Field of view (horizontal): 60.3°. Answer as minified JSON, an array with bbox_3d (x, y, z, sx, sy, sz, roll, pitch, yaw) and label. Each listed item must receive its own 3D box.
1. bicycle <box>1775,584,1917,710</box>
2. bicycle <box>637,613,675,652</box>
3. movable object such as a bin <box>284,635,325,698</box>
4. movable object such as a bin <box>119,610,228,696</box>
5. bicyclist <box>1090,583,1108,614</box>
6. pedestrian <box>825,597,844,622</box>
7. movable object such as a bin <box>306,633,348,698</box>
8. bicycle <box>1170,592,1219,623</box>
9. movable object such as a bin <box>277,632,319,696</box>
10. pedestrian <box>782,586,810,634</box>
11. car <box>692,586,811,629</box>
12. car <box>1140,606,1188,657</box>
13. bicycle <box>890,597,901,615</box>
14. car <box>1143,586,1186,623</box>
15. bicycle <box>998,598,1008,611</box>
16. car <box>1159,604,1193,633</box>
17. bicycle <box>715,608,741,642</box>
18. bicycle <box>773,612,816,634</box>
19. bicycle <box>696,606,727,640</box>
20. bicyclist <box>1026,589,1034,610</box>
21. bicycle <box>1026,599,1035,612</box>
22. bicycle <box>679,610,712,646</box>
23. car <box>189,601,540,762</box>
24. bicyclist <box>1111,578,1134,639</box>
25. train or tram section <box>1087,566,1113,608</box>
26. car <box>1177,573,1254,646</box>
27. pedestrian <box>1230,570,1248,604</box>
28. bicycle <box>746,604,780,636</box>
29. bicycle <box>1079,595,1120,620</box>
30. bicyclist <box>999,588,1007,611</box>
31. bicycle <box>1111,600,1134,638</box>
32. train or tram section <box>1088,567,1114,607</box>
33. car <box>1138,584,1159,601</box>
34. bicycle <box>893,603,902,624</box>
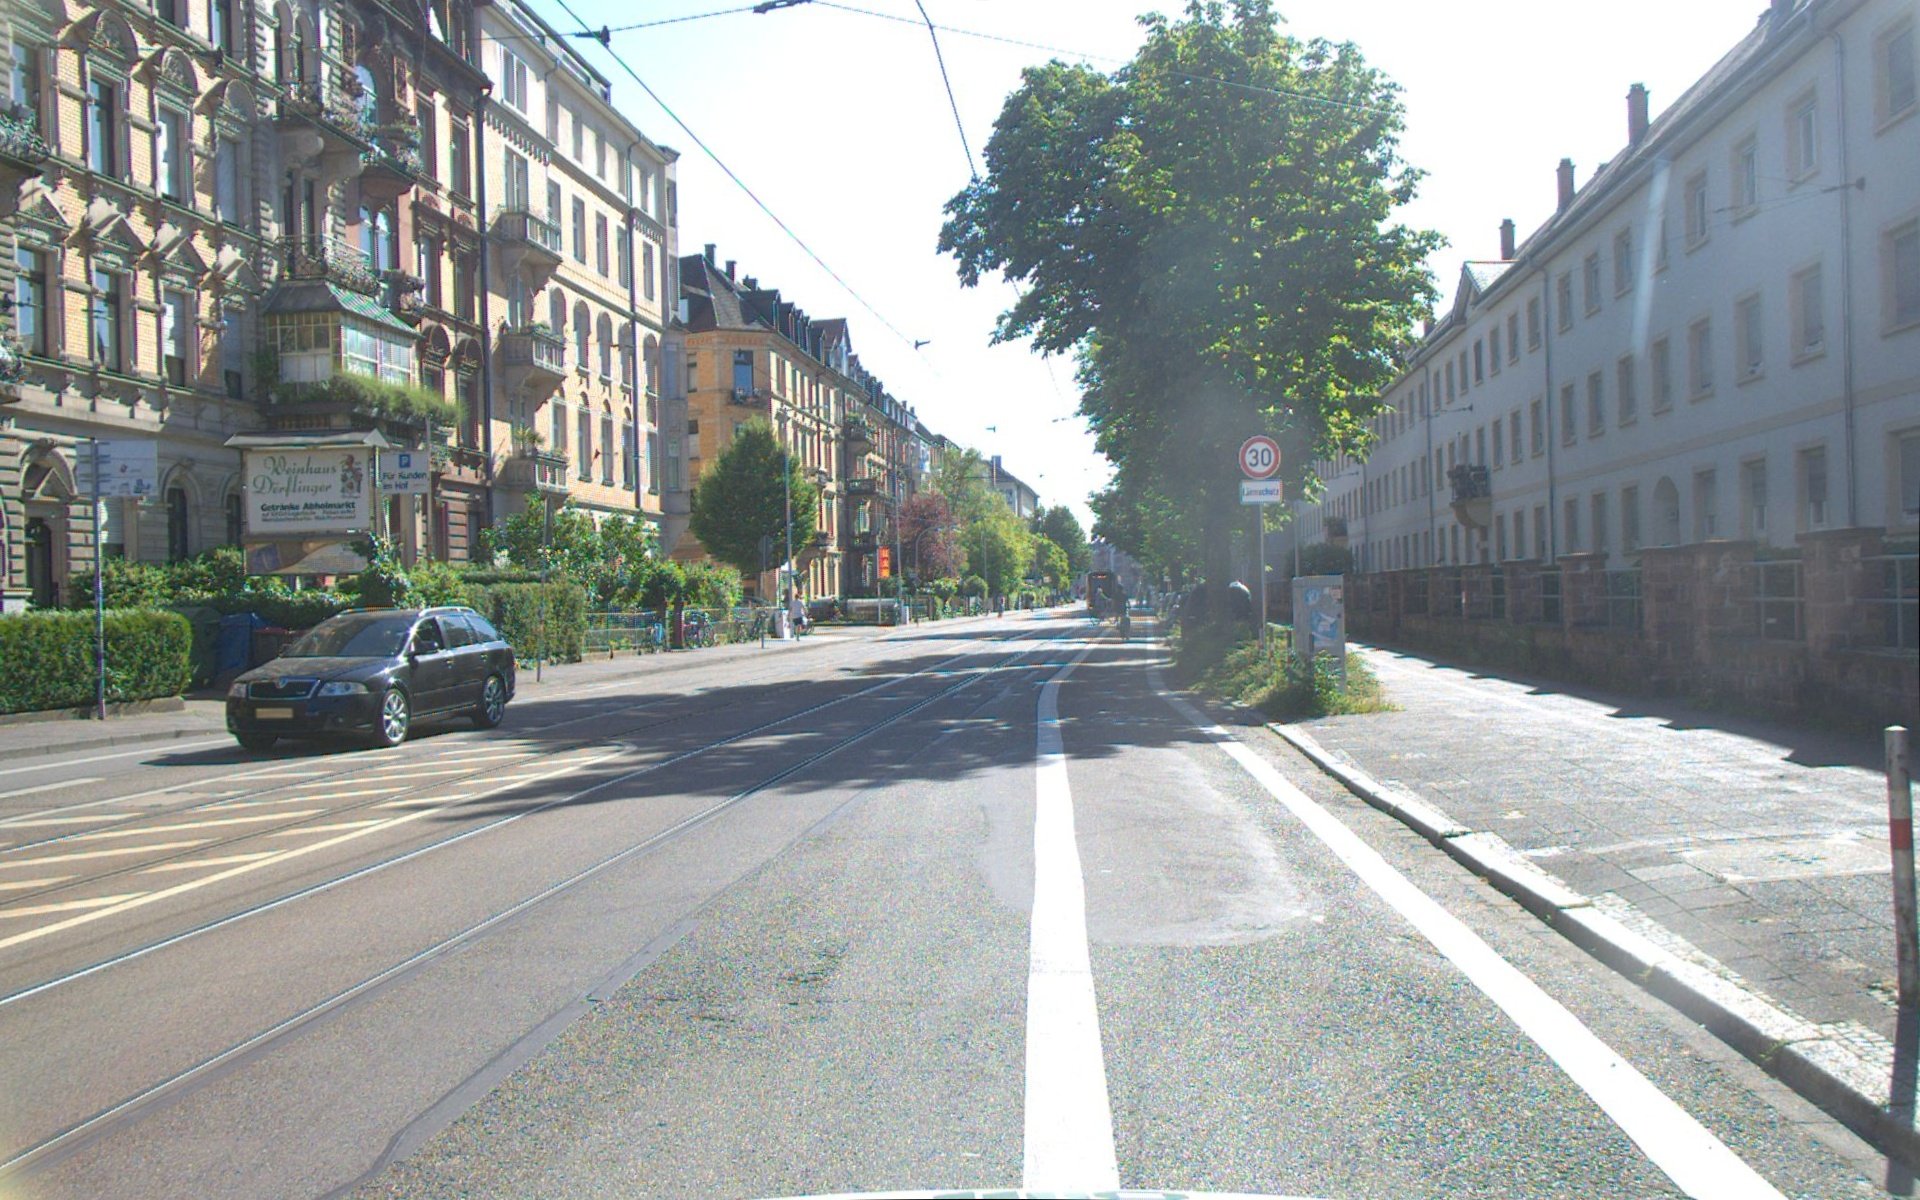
[{"bbox_3d":[8.243,0.406,15.452,0.449,1.112,1.673,0,0,1],"label":"bicycle"},{"bbox_3d":[-8.643,0.914,47.070,0.551,1.051,1.769,0,2,7],"label":"bicycle"},{"bbox_3d":[-11.768,1.188,29.710,0.469,1.105,0.541,0,0,8],"label":"movable object such as a bin"},{"bbox_3d":[-13.841,0.919,29.148,1.291,1.472,1.171,0,0,8],"label":"movable object such as a bin"},{"bbox_3d":[6.579,-0.072,78.460,0.607,1.494,0.631,0,0,-27],"label":"bicyclist"},{"bbox_3d":[-7.073,0.541,93.075,0.882,1.376,0.577,-4,0,8],"label":"pedestrian"},{"bbox_3d":[-11.106,1.146,29.022,0.469,1.105,0.541,0,0,8],"label":"movable object such as a bin"},{"bbox_3d":[8.407,0.278,59.246,1.724,1.096,0.434,0,0,7],"label":"bicycle"},{"bbox_3d":[-11.639,1.114,29.070,0.469,1.105,0.541,0,0,8],"label":"movable object such as a bin"},{"bbox_3d":[-5.993,0.366,60.538,0.812,1.754,1.083,0,-1,6],"label":"pedestrian"},{"bbox_3d":[-8.382,0.309,66.603,4.351,1.672,1.968,0,0,9],"label":"car"},{"bbox_3d":[7.678,1.156,62.453,1.630,1.791,4.234,-2,0,5],"label":"car"},{"bbox_3d":[-3.598,0.322,92.867,0.328,1.018,1.871,0,0,6],"label":"bicycle"},{"bbox_3d":[8.989,0.183,73.007,1.684,1.499,4.249,-3,0,5],"label":"car"},{"bbox_3d":[3.183,0.335,122.132,0.450,0.942,2.204,-3,0,6],"label":"bicycle"},{"bbox_3d":[12.162,1.007,93.426,1.749,1.489,4.047,-2,0,6],"label":"car"},{"bbox_3d":[-7.883,0.844,56.095,0.554,1.051,1.759,2,1,-18],"label":"bicycle"},{"bbox_3d":[-7.214,1.000,72.173,1.763,0.930,0.615,-1,-2,-30],"label":"bicycle"},{"bbox_3d":[-7.954,0.730,52.993,0.551,1.051,1.769,0,1,6],"label":"bicycle"},{"bbox_3d":[6.464,-0.033,152.526,0.646,1.833,0.616,-4,-1,6],"label":"bicyclist"},{"bbox_3d":[6.490,0.487,152.481,0.677,1.132,1.720,-3,0,6],"label":"bicycle"},{"bbox_3d":[-8.125,0.859,50.866,0.551,1.051,1.769,0,1,6],"label":"bicycle"},{"bbox_3d":[-6.644,0.818,19.152,1.793,1.544,4.971,1,1,7],"label":"car"},{"bbox_3d":[5.001,0.253,50.902,0.712,1.880,0.837,0,0,6],"label":"bicyclist"},{"bbox_3d":[12.143,-1.117,143.031,2.108,3.491,6.616,0,0,6],"label":"train or tram section"},{"bbox_3d":[6.568,0.216,42.858,1.707,1.797,4.481,0,0,6],"label":"car"},{"bbox_3d":[14.441,-0.677,85.608,0.750,1.754,0.578,0,0,36],"label":"pedestrian"},{"bbox_3d":[-6.970,0.708,58.508,0.557,1.051,1.750,-1,2,-30],"label":"bicycle"},{"bbox_3d":[6.641,0.353,78.578,1.889,1.132,0.687,-1,0,-29],"label":"bicycle"},{"bbox_3d":[3.163,-0.063,122.146,0.454,1.646,0.745,-4,0,6],"label":"bicyclist"},{"bbox_3d":[5.006,0.589,50.910,0.677,1.132,1.720,0,0,6],"label":"bicycle"},{"bbox_3d":[12.788,-1.167,149.665,2.108,3.491,6.616,0,0,6],"label":"train or tram section"},{"bbox_3d":[16.910,-0.681,148.572,1.712,1.445,4.003,-3,0,6],"label":"car"},{"bbox_3d":[-3.470,0.762,92.083,0.363,1.146,0.809,0,0,6],"label":"bicycle"}]
